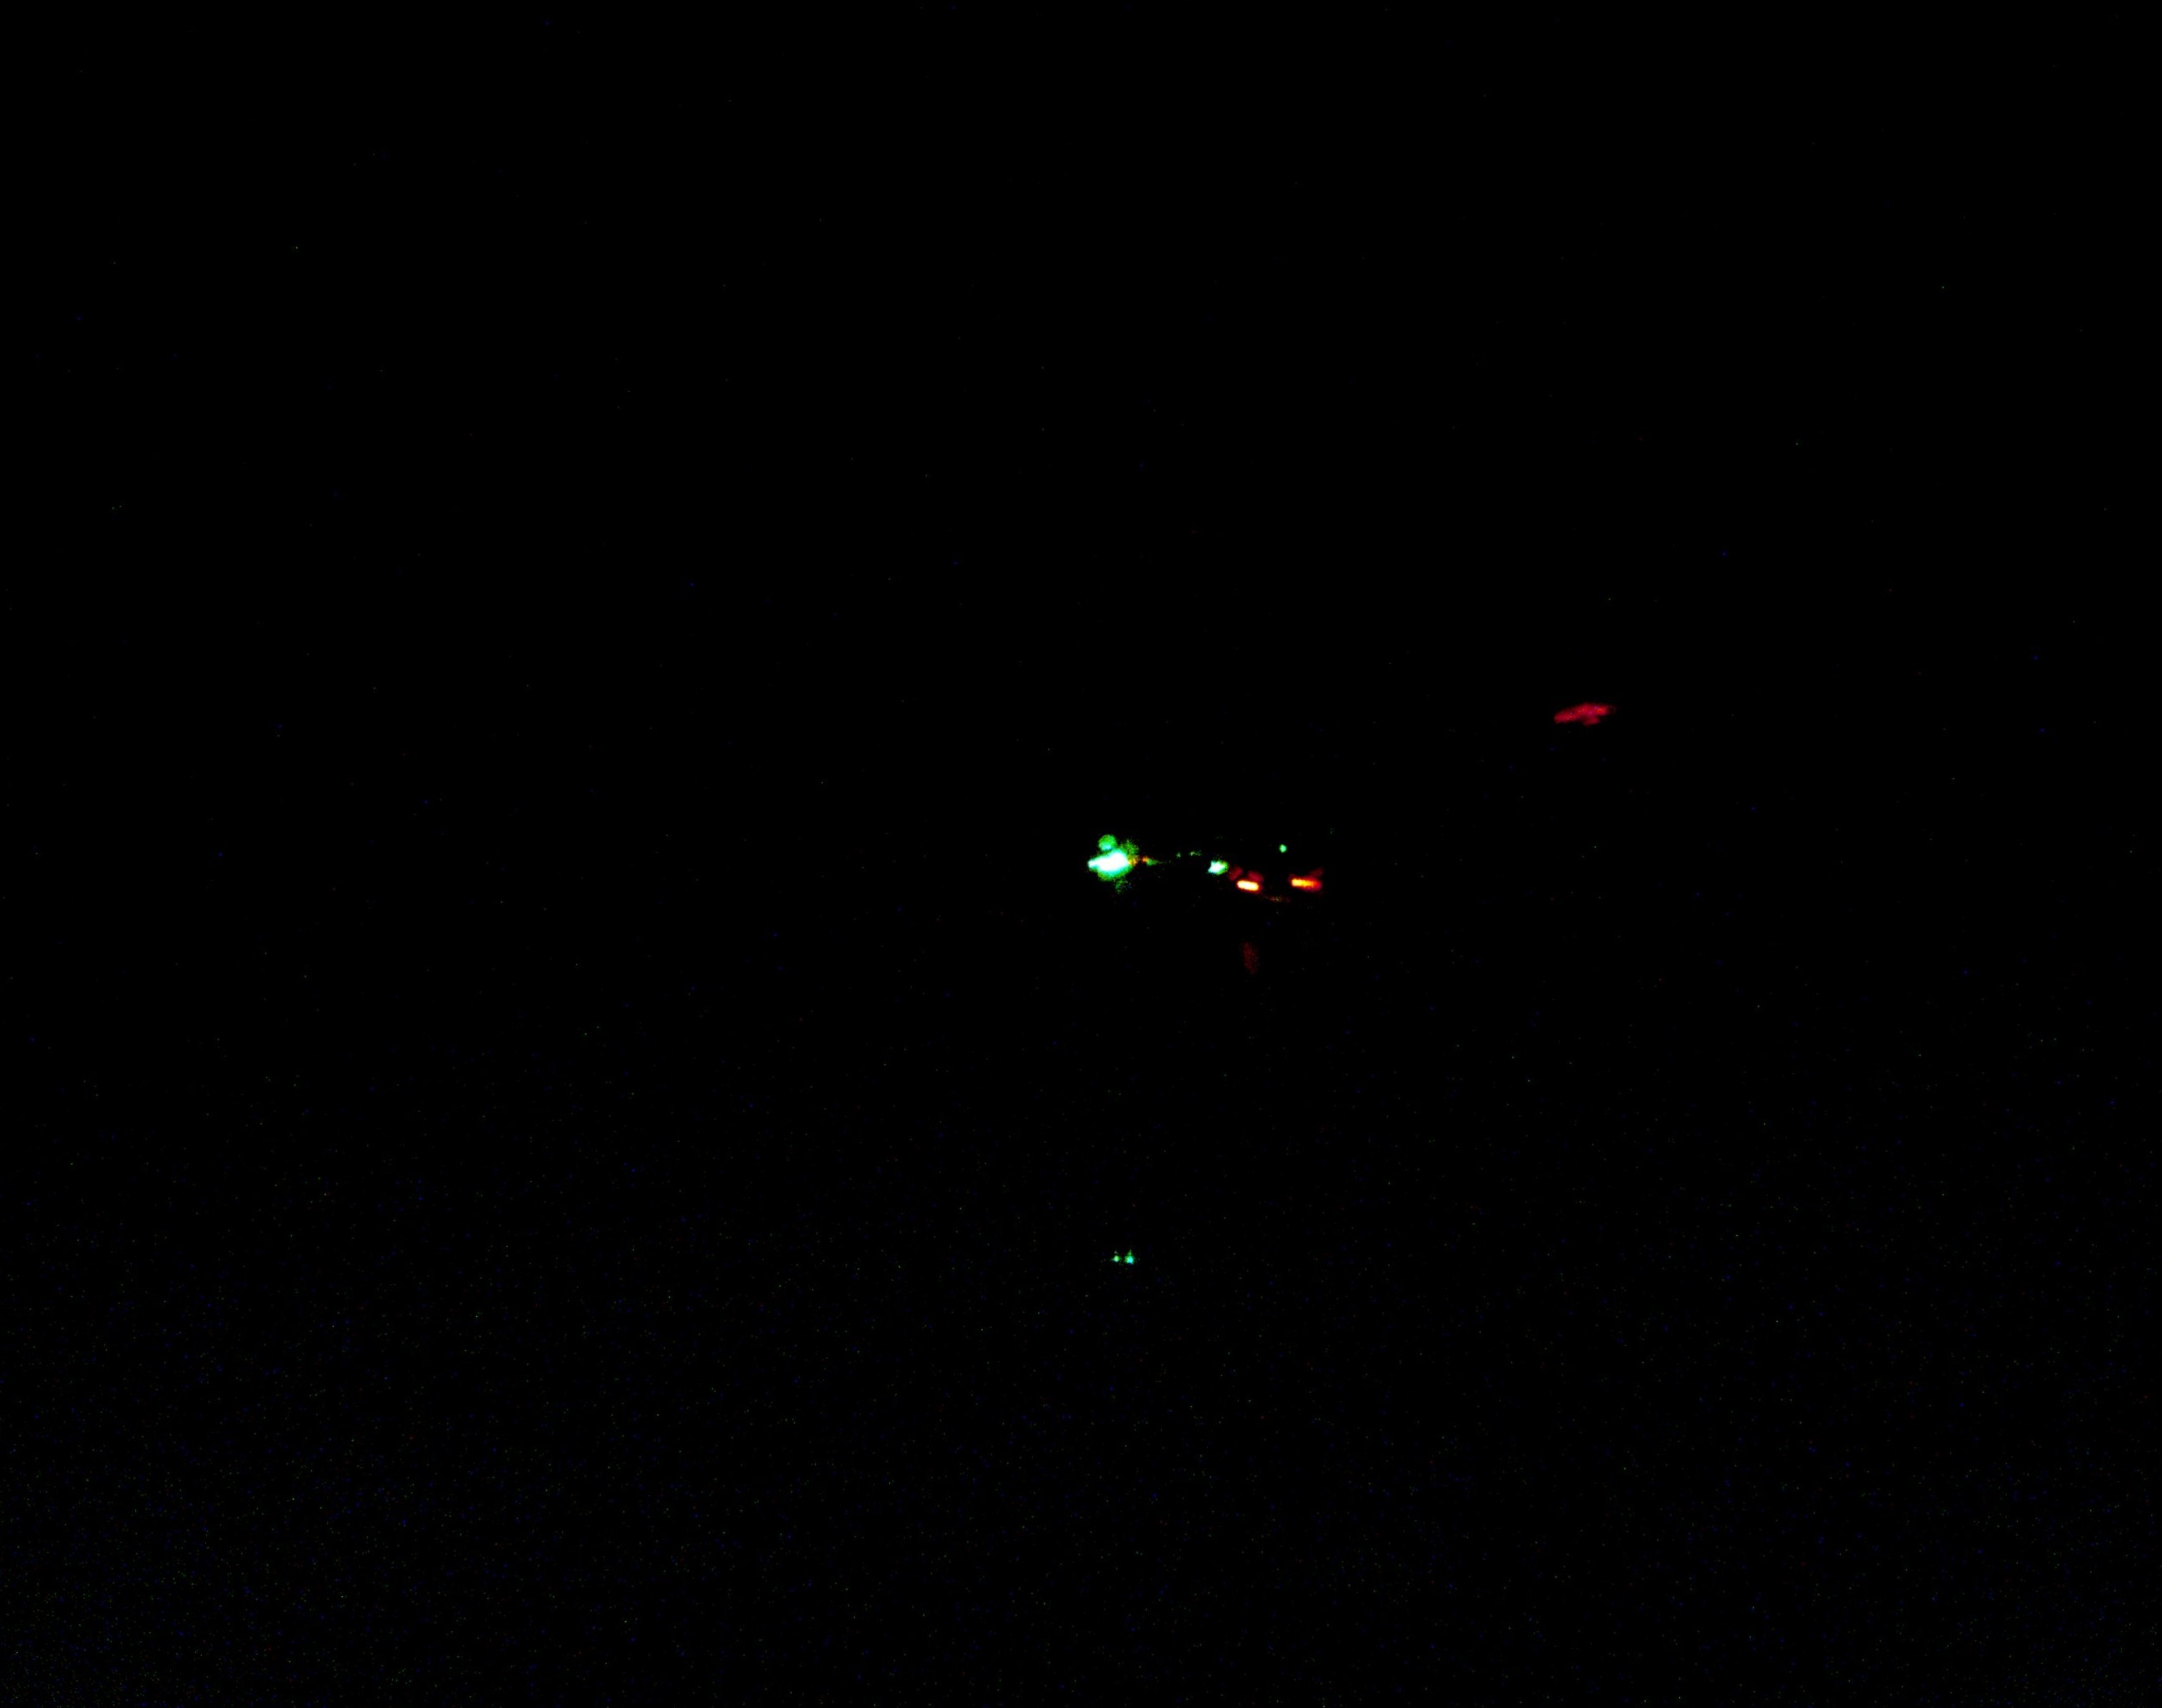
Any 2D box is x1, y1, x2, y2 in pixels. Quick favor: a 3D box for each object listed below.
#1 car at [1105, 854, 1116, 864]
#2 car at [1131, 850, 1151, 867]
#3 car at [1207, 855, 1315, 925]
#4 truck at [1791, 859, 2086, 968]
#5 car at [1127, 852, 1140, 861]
[{"bbox_3d":[4.995,0.917,129.314,1.824,1.565,4.106,-2,1,3],"label":"car"},{"bbox_3d":[6.066,0.400,77.578,1.831,1.608,3.728,-2,1,2],"label":"car"},{"bbox_3d":[4.273,0.792,18.625,1.716,1.409,4.065,-2,1,1],"label":"car"},{"bbox_3d":[32.205,2.022,29.251,2.762,3.462,8.108,-2,0,6],"label":"truck"},{"bbox_3d":[8.140,0.366,118.116,1.872,1.434,4.464,-1,1,2],"label":"car"}]
